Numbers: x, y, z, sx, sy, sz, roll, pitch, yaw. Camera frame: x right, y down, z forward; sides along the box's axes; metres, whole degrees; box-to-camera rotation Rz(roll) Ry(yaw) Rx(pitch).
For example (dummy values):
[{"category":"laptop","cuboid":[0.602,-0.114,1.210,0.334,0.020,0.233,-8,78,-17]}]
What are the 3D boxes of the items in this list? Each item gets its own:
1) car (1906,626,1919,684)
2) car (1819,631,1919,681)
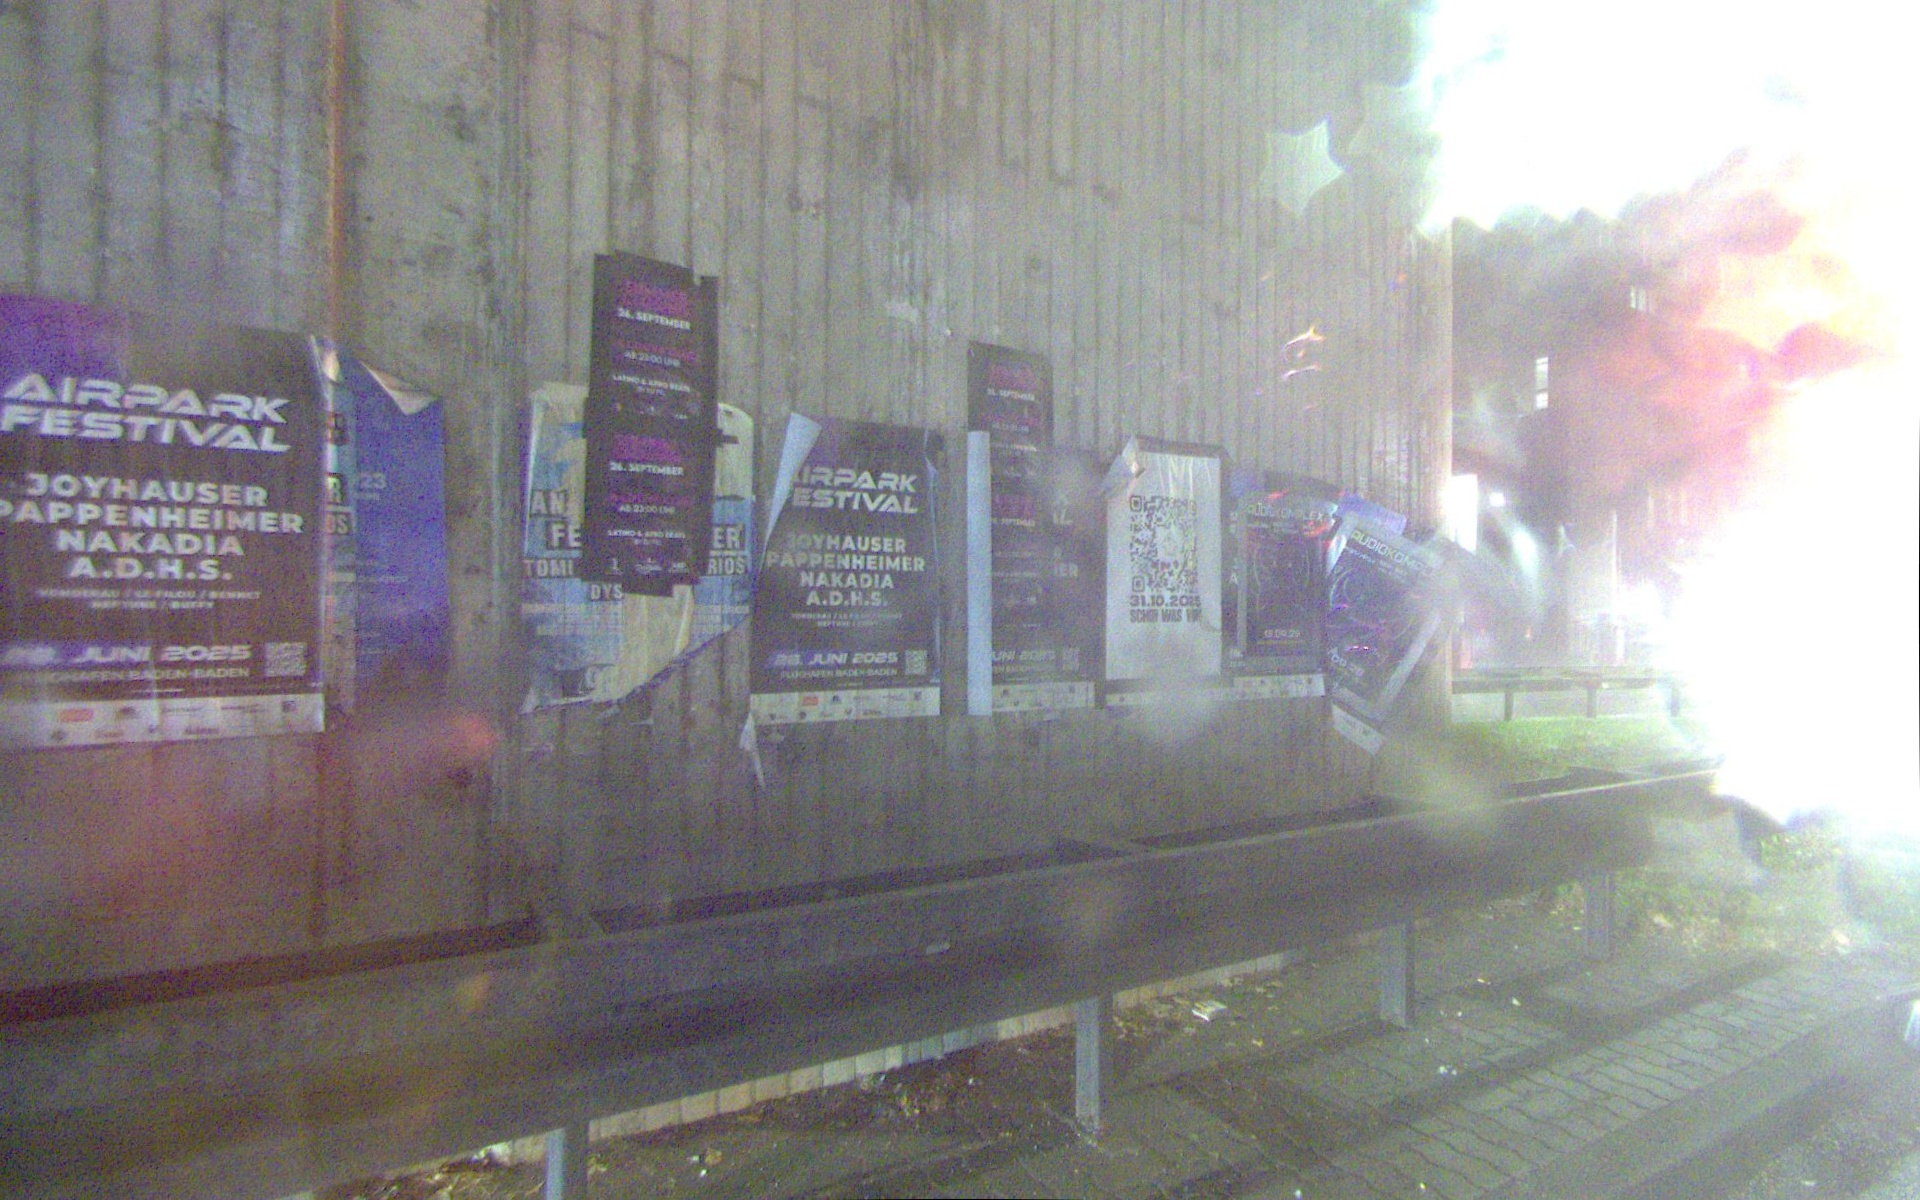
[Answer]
[{"category":"car","cuboid":[30.751,1.697,30.709,4.453,1.731,1.739,2,-3,-34]},{"category":"car","cuboid":[31.264,1.898,34.277,3.953,1.585,1.792,2,-1,-30]}]
